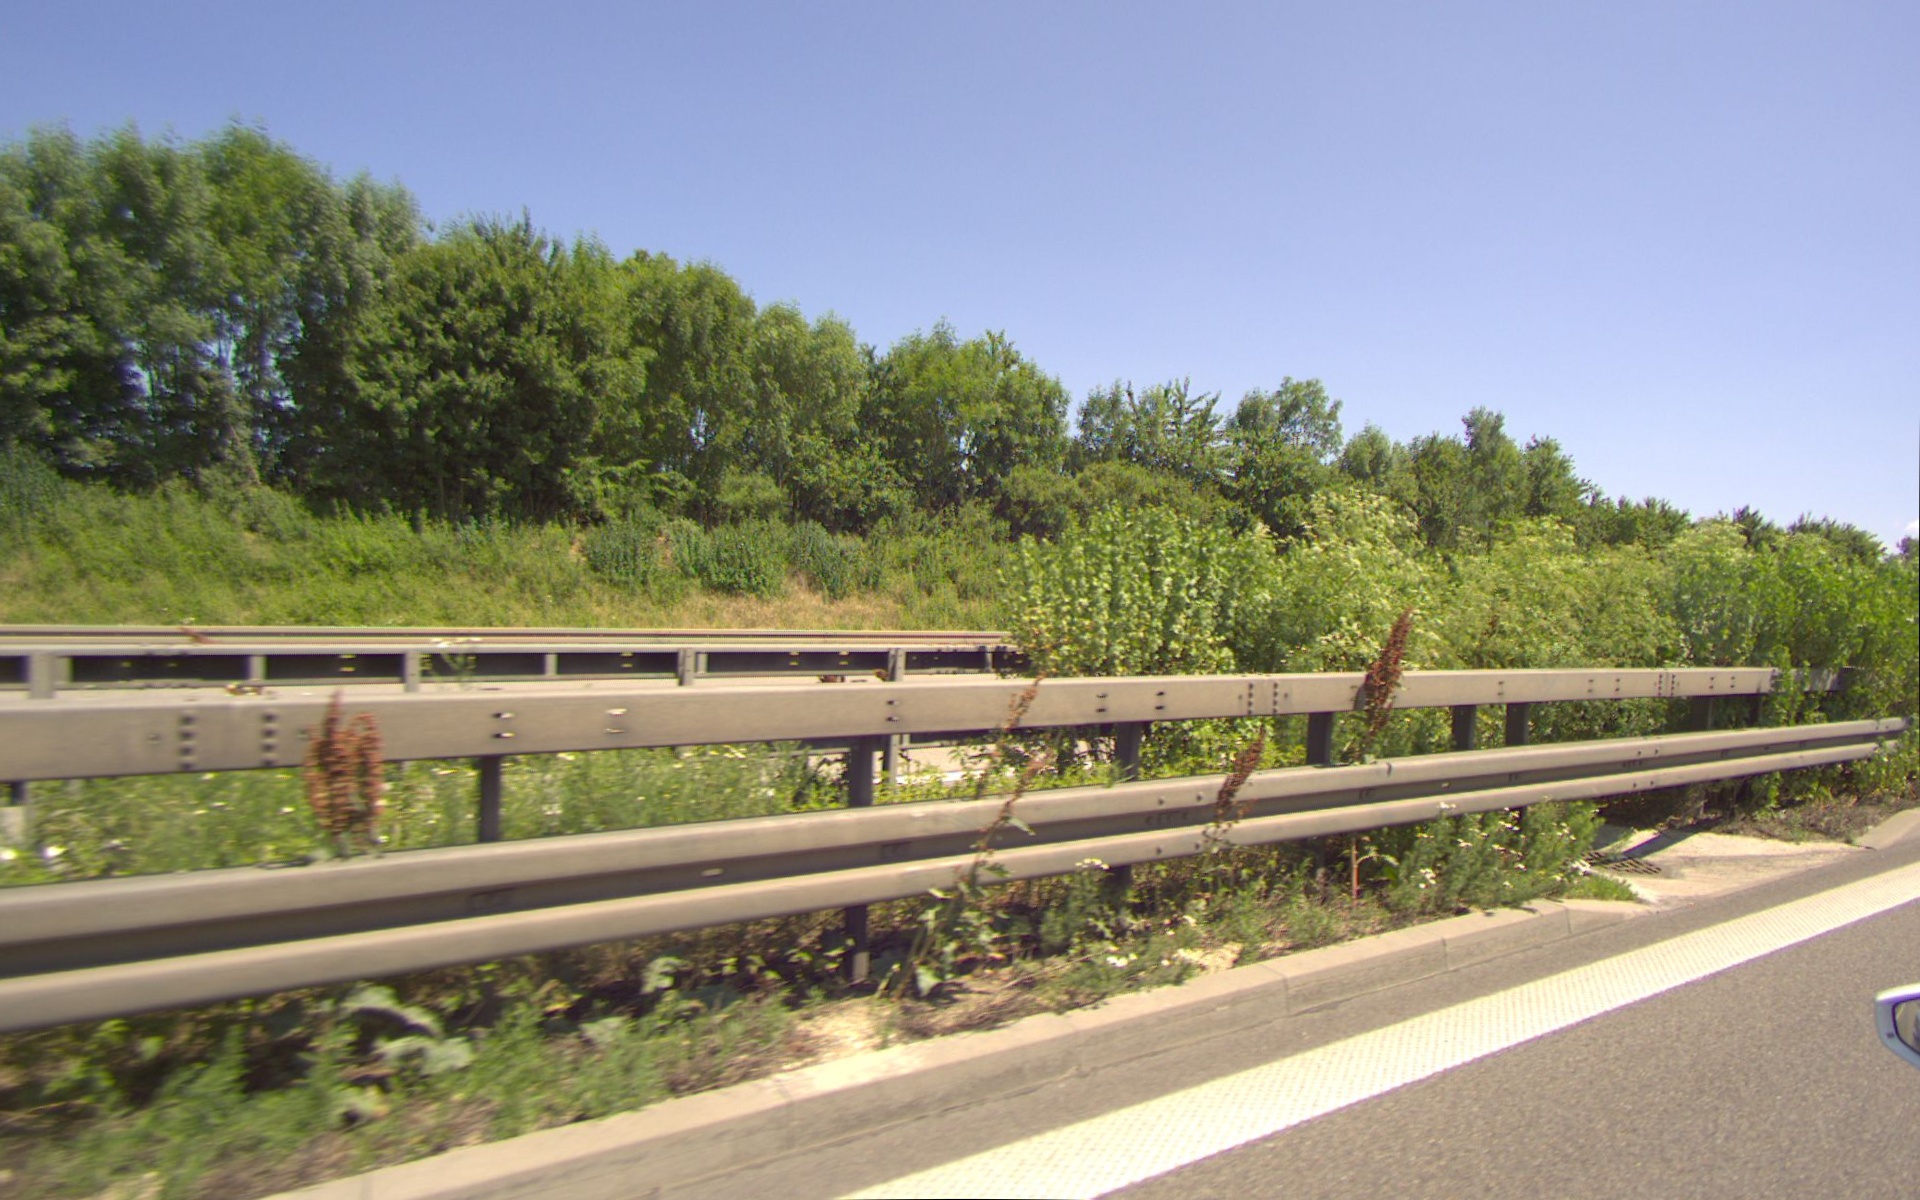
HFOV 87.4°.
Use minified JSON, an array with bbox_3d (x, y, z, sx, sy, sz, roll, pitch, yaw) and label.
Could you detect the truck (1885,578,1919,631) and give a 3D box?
[{"bbox_3d":[52.221,0.306,53.938,4.595,2.785,2.673,2,0,-33],"label":"truck"}]
